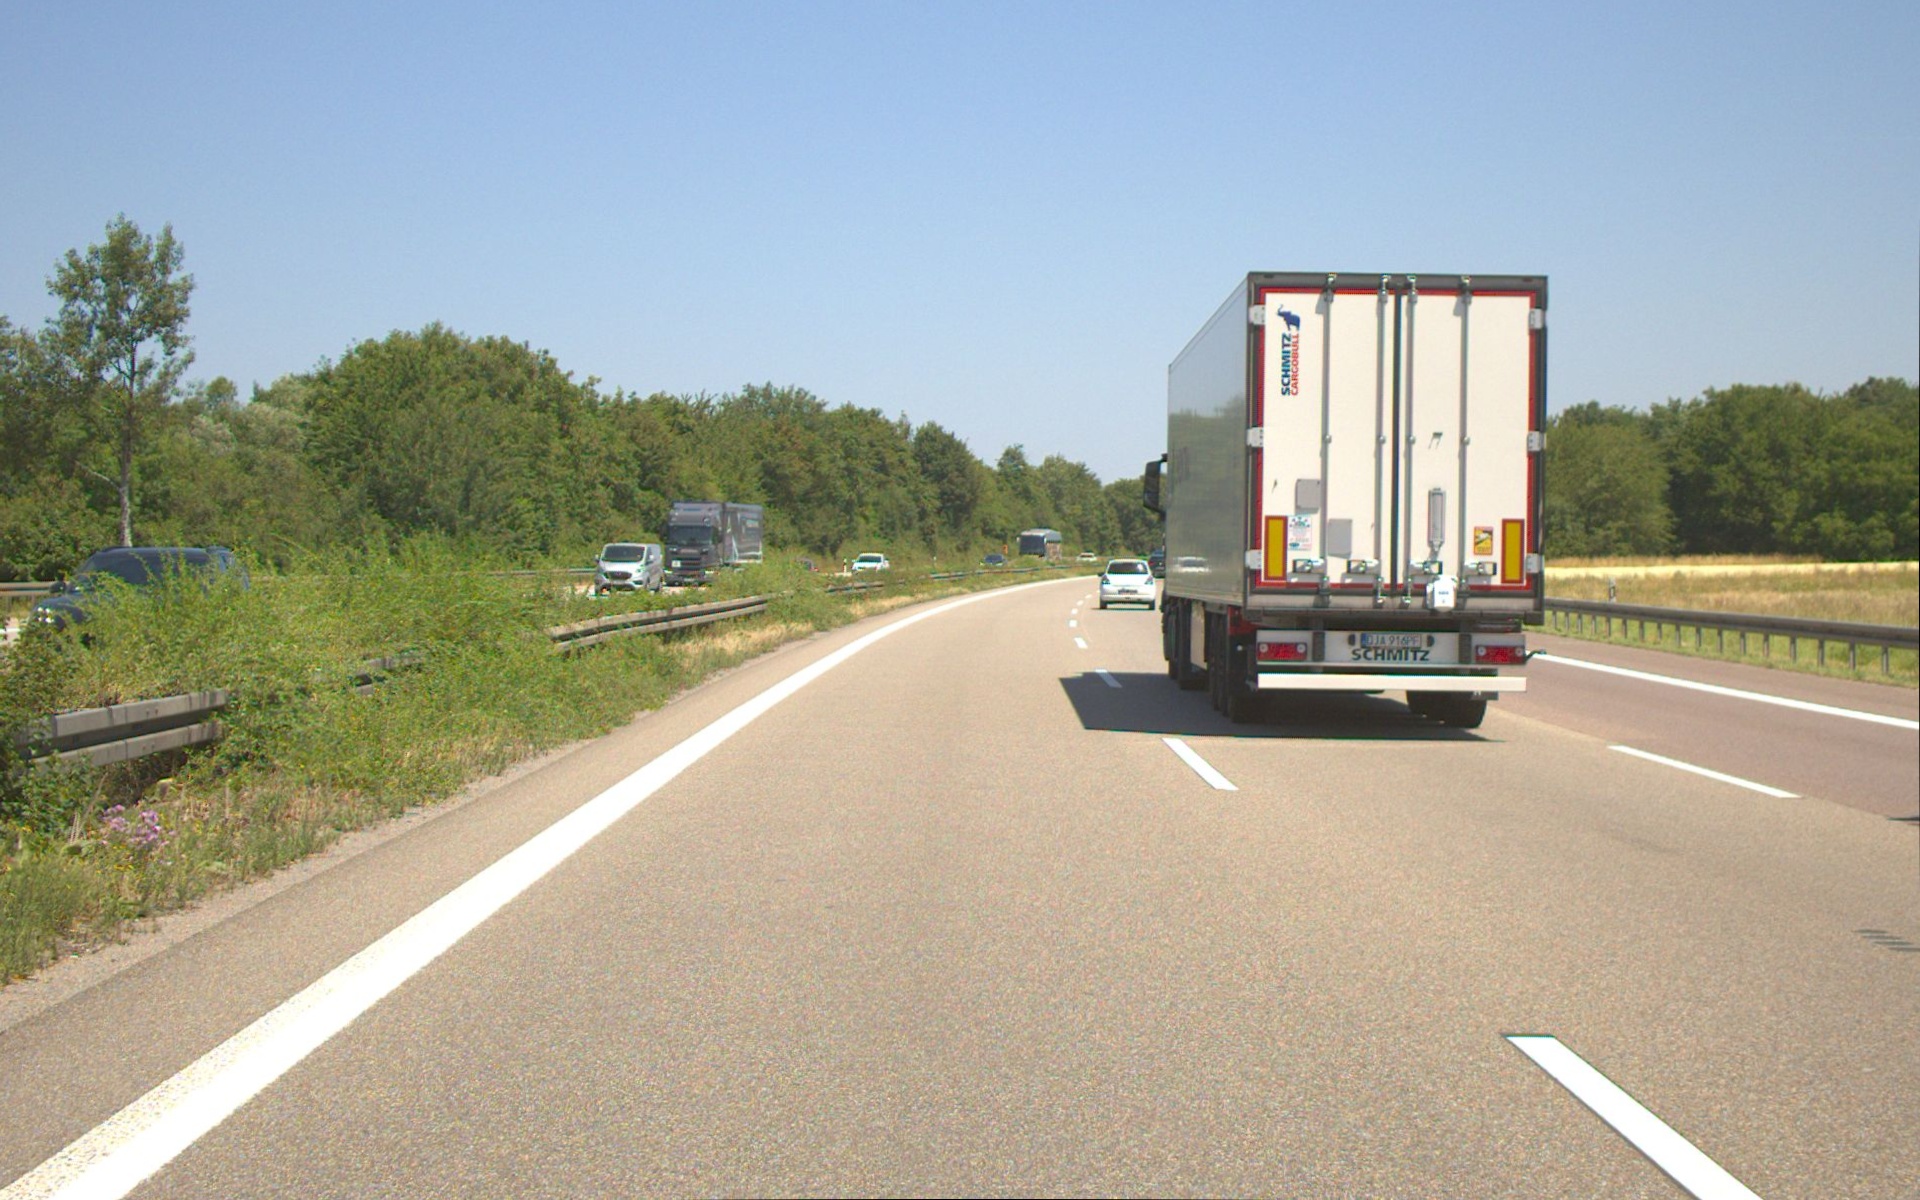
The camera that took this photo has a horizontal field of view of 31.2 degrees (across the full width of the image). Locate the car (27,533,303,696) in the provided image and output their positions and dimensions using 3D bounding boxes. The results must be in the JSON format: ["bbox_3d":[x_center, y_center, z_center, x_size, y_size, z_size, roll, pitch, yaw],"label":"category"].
[{"bbox_3d":[-8.986,0.120,39.294,1.993,1.722,5.203,0,1,-1],"label":"car"}]

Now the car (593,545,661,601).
[{"bbox_3d":[-12.490,-1.037,129.235,2.058,2.064,5.409,0,1,-1],"label":"car"}]

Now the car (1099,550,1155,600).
[{"bbox_3d":[5.104,-0.774,104.823,1.627,1.474,4.000,0,1,4],"label":"car"}]

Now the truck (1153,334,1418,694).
[{"bbox_3d":[4.001,-1.057,43.356,2.908,4.241,4.975,1,1,1],"label":"truck"}]

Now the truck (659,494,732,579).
[{"bbox_3d":[-12.454,-2.983,161.870,2.894,3.902,4.000,0,1,4],"label":"truck"}]

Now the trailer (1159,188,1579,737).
[{"bbox_3d":[3.892,-1.280,36.310,2.901,4.641,13.986,1,1,1],"label":"trailer"}]

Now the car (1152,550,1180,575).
[{"bbox_3d":[12.495,-2.265,208.487,1.628,1.474,3.999,0,1,5],"label":"car"}]
